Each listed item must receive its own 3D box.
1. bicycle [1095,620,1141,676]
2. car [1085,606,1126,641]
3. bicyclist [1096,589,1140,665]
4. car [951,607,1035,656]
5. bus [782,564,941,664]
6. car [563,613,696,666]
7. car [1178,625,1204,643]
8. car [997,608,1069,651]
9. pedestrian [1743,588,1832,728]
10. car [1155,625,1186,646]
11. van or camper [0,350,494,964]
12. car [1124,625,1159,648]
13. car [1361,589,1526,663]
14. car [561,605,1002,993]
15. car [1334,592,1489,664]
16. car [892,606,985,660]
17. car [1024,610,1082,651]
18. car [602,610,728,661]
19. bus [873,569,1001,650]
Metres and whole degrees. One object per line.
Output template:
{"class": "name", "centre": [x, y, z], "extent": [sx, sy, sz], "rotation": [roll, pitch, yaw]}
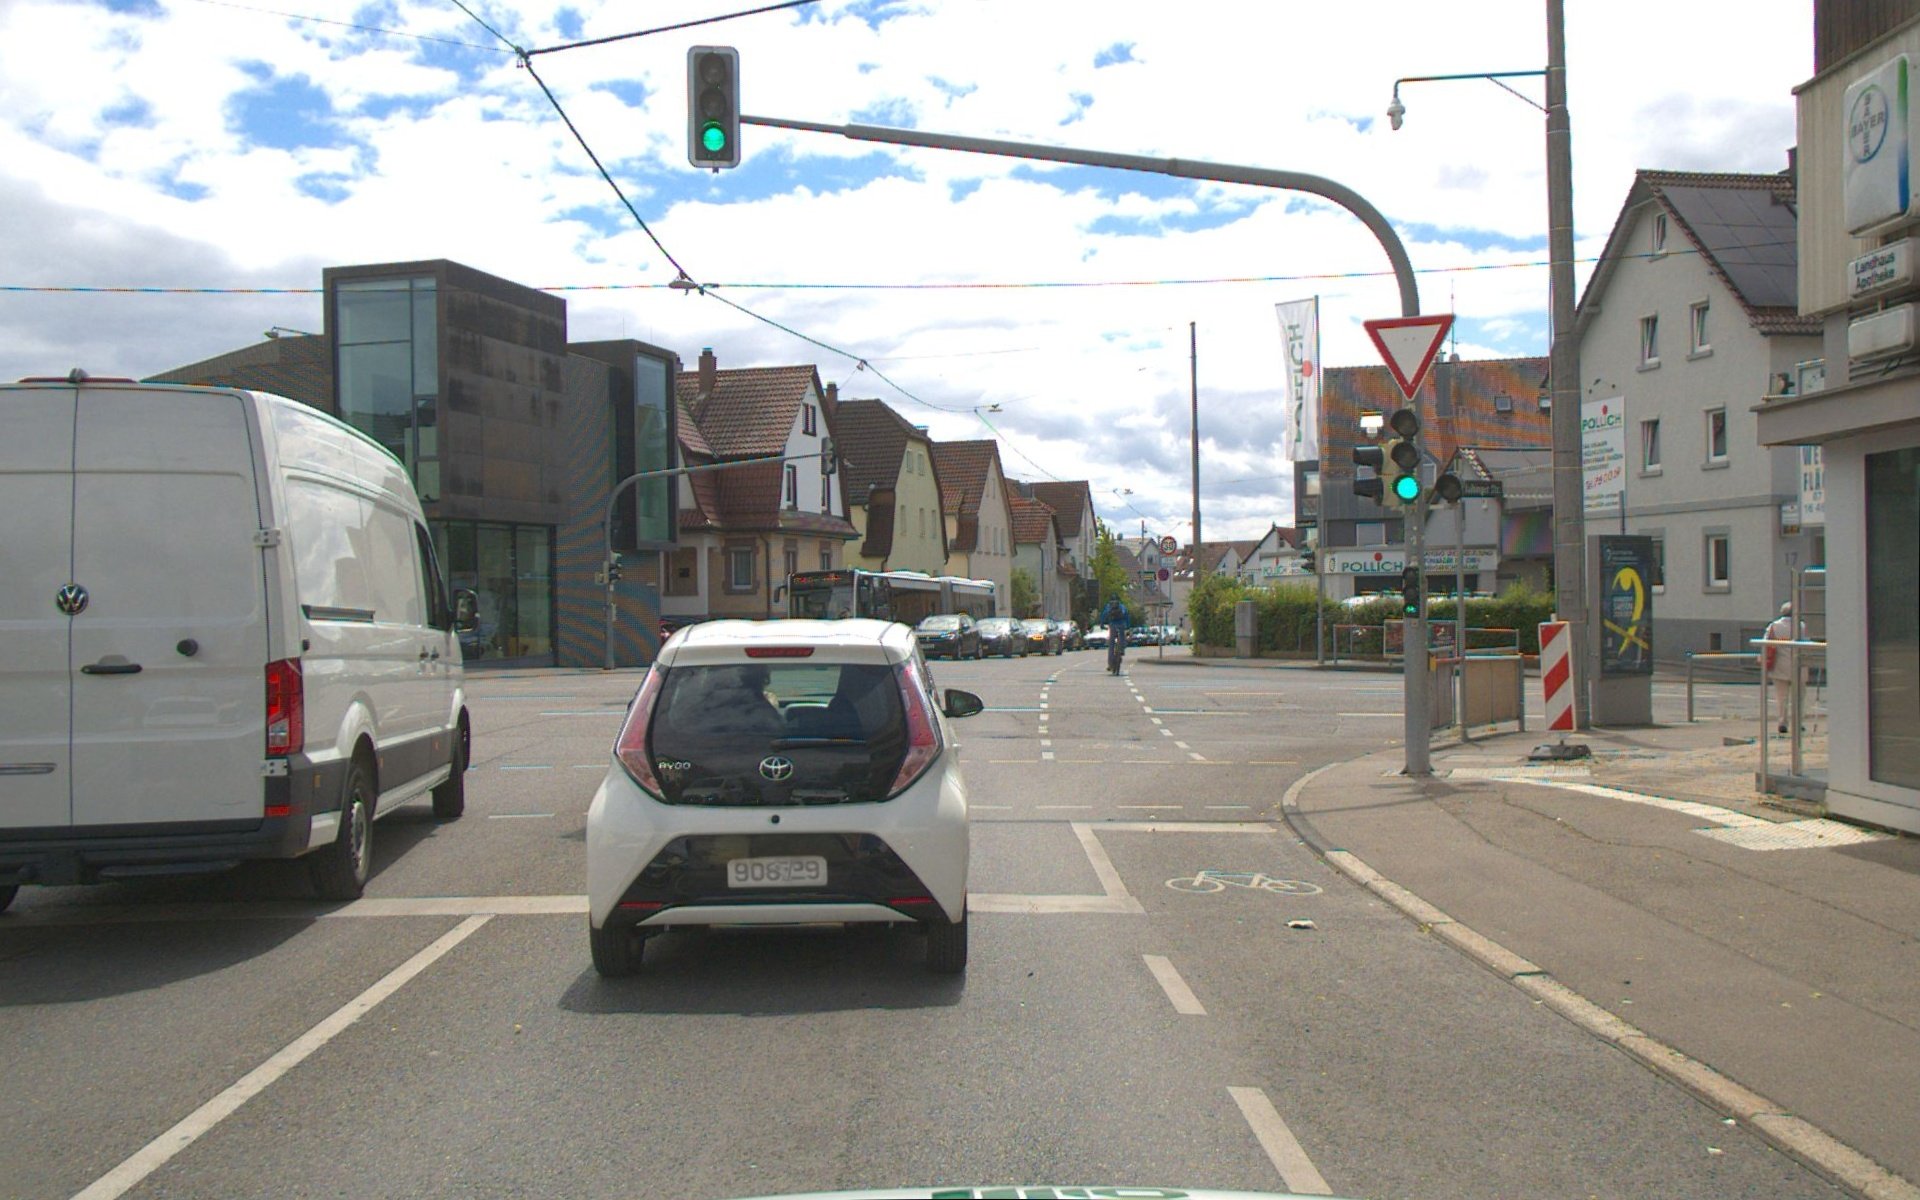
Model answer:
{"class": "bicycle", "centre": [3.522, 1.052, 37.017], "extent": [0.815, 1.184, 2.192], "rotation": [0, 0, 0]}
{"class": "car", "centre": [8.643, 1.361, 97.855], "extent": [1.951, 2.049, 4.003], "rotation": [0, 0, 12]}
{"class": "bicyclist", "centre": [3.532, 0.596, 37.089], "extent": [0.823, 1.642, 1.083], "rotation": [2, -1, 0]}
{"class": "car", "centre": [1.228, 1.103, 59.162], "extent": [1.951, 1.668, 4.186], "rotation": [0, 0, 17]}
{"class": "bus", "centre": [-3.168, 0.453, 56.601], "extent": [2.719, 3.114, 9.198], "rotation": [0, 0, 15]}
{"class": "car", "centre": [-11.107, 1.298, 55.756], "extent": [3.902, 1.668, 2.002], "rotation": [1, 0, 13]}
{"class": "car", "centre": [22.569, 3.316, 161.327], "extent": [1.951, 1.668, 4.002], "rotation": [0, 0, 17]}
{"class": "car", "centre": [2.952, 1.147, 66.233], "extent": [1.951, 1.668, 4.002], "rotation": [0, 0, 17]}
{"class": "pedestrian", "centre": [10.154, 0.698, 20.319], "extent": [0.816, 1.666, 0.874], "rotation": [0, -1, 16]}
{"class": "car", "centre": [17.880, 2.985, 140.277], "extent": [1.951, 1.668, 4.002], "rotation": [0, 0, 17]}
{"class": "van or camper", "centre": [-4.298, 0.252, 9.952], "extent": [2.068, 2.632, 5.634], "rotation": [-2, 0, -8]}
{"class": "car", "centre": [13.799, 2.741, 125.549], "extent": [1.951, 1.668, 4.002], "rotation": [0, 0, 17]}
{"class": "car", "centre": [13.328, 0.706, 45.705], "extent": [3.914, 1.982, 1.995], "rotation": [0, -1, -10]}
{"class": "car", "centre": [-0.717, 0.773, 8.192], "extent": [1.703, 1.486, 3.531], "rotation": [0, 0, -1]}
{"class": "car", "centre": [13.152, 0.795, 48.274], "extent": [3.913, 2.049, 1.996], "rotation": [0, 0, -9]}
{"class": "car", "centre": [-0.657, 1.050, 53.852], "extent": [1.951, 1.668, 4.002], "rotation": [0, 0, 17]}
{"class": "car", "centre": [4.777, 1.526, 84.837], "extent": [1.952, 2.049, 4.001], "rotation": [0, 0, 19]}
{"class": "car", "centre": [-10.421, 1.255, 58.551], "extent": [3.902, 1.713, 2.002], "rotation": [-1, -1, 13]}
{"class": "bus", "centre": [-0.743, 0.370, 65.670], "extent": [2.719, 2.966, 9.198], "rotation": [0, 0, 15]}
